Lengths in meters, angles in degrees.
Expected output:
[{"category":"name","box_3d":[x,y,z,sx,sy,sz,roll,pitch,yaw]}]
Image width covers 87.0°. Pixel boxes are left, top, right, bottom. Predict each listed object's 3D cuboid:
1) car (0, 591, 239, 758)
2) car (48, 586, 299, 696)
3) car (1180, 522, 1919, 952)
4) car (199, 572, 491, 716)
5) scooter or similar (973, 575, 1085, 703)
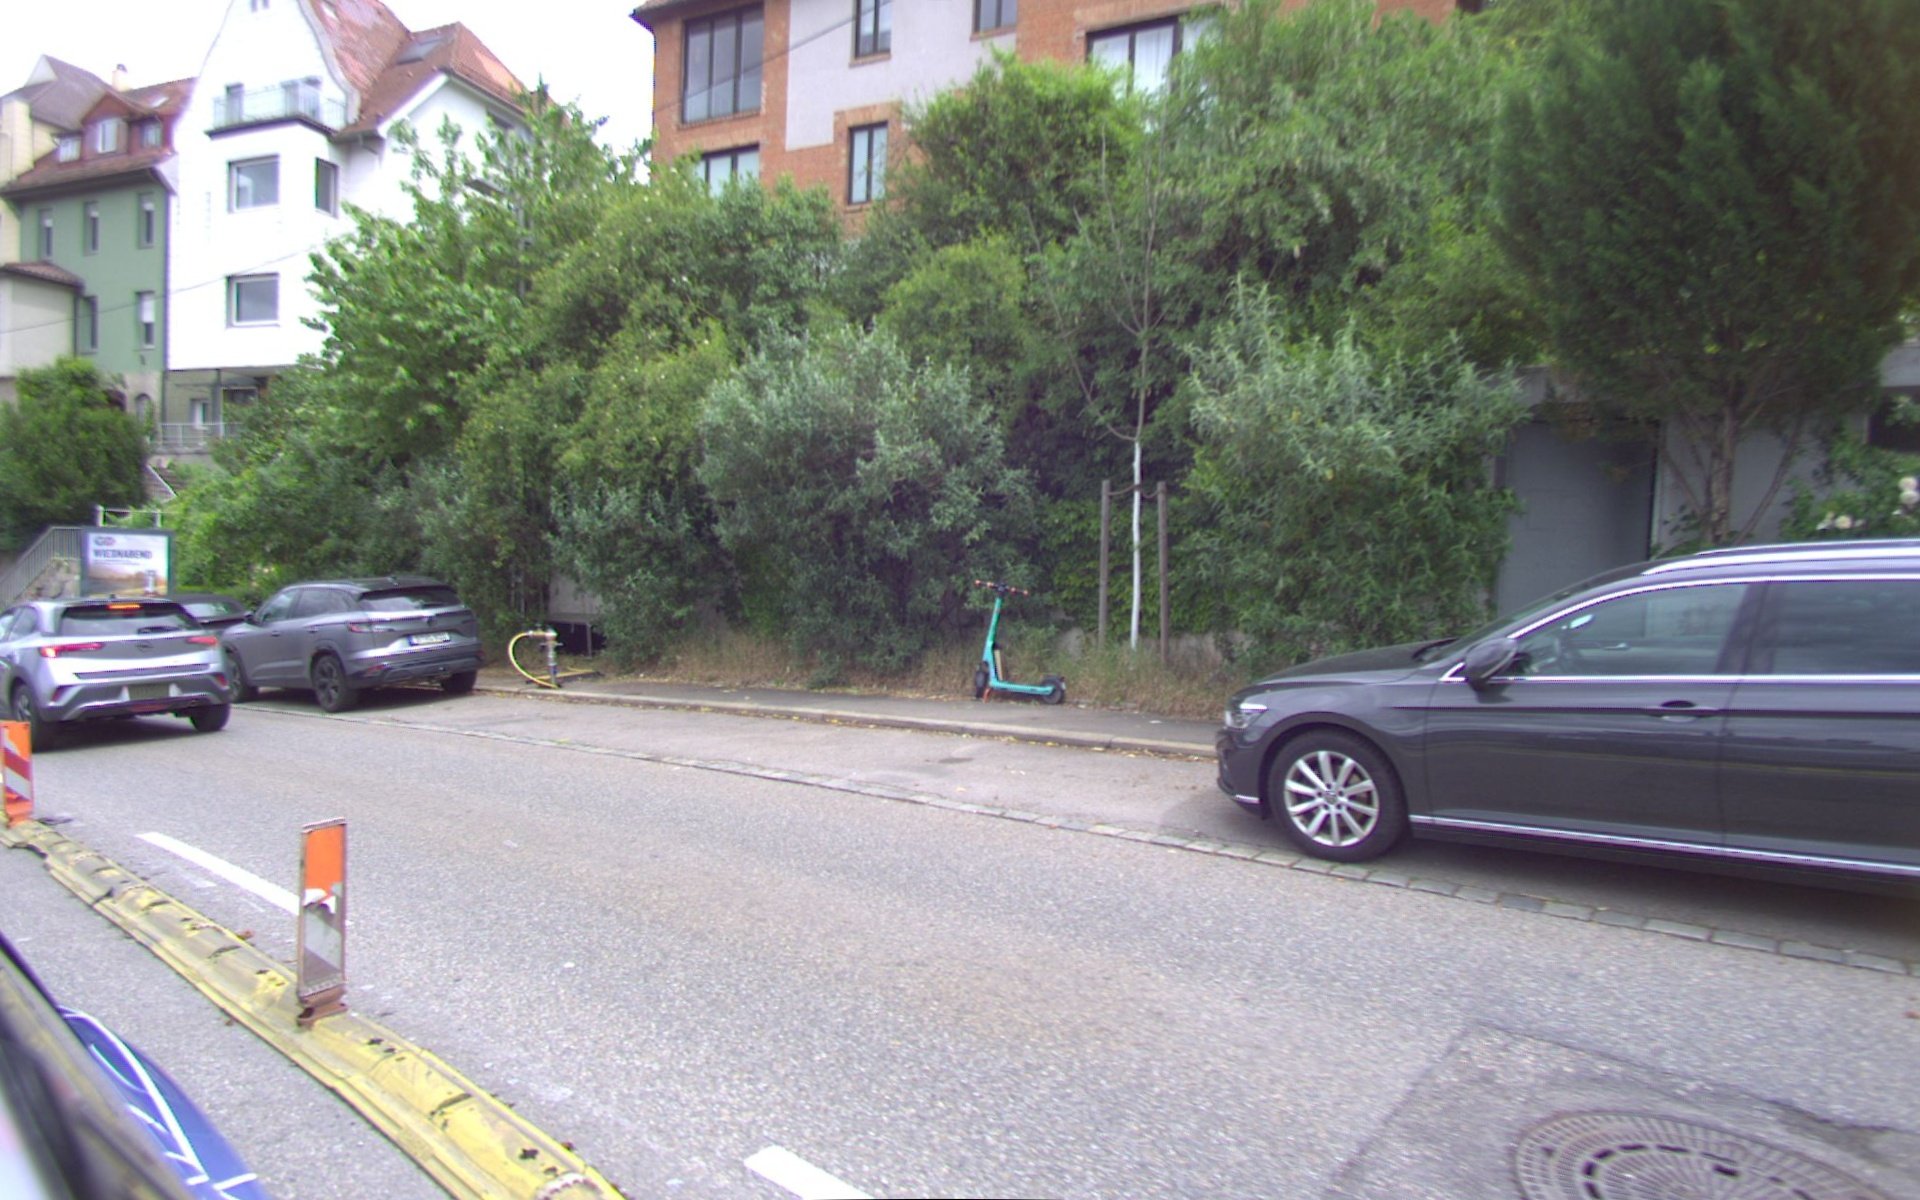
[{"category":"car","box_3d":[-9.998,0.725,11.372,4.014,1.529,1.753,-1,1,34]},{"category":"car","box_3d":[-12.889,0.613,16.555,3.983,1.521,1.783,-1,3,30]},{"category":"car","box_3d":[3.497,0.433,4.430,4.682,1.462,1.718,-1,3,42]},{"category":"car","box_3d":[-8.358,0.513,13.657,4.174,1.617,1.674,0,3,33]},{"category":"scooter or similar","box_3d":[0.686,0.383,10.177,1.043,1.222,0.346,-1,3,34]}]
